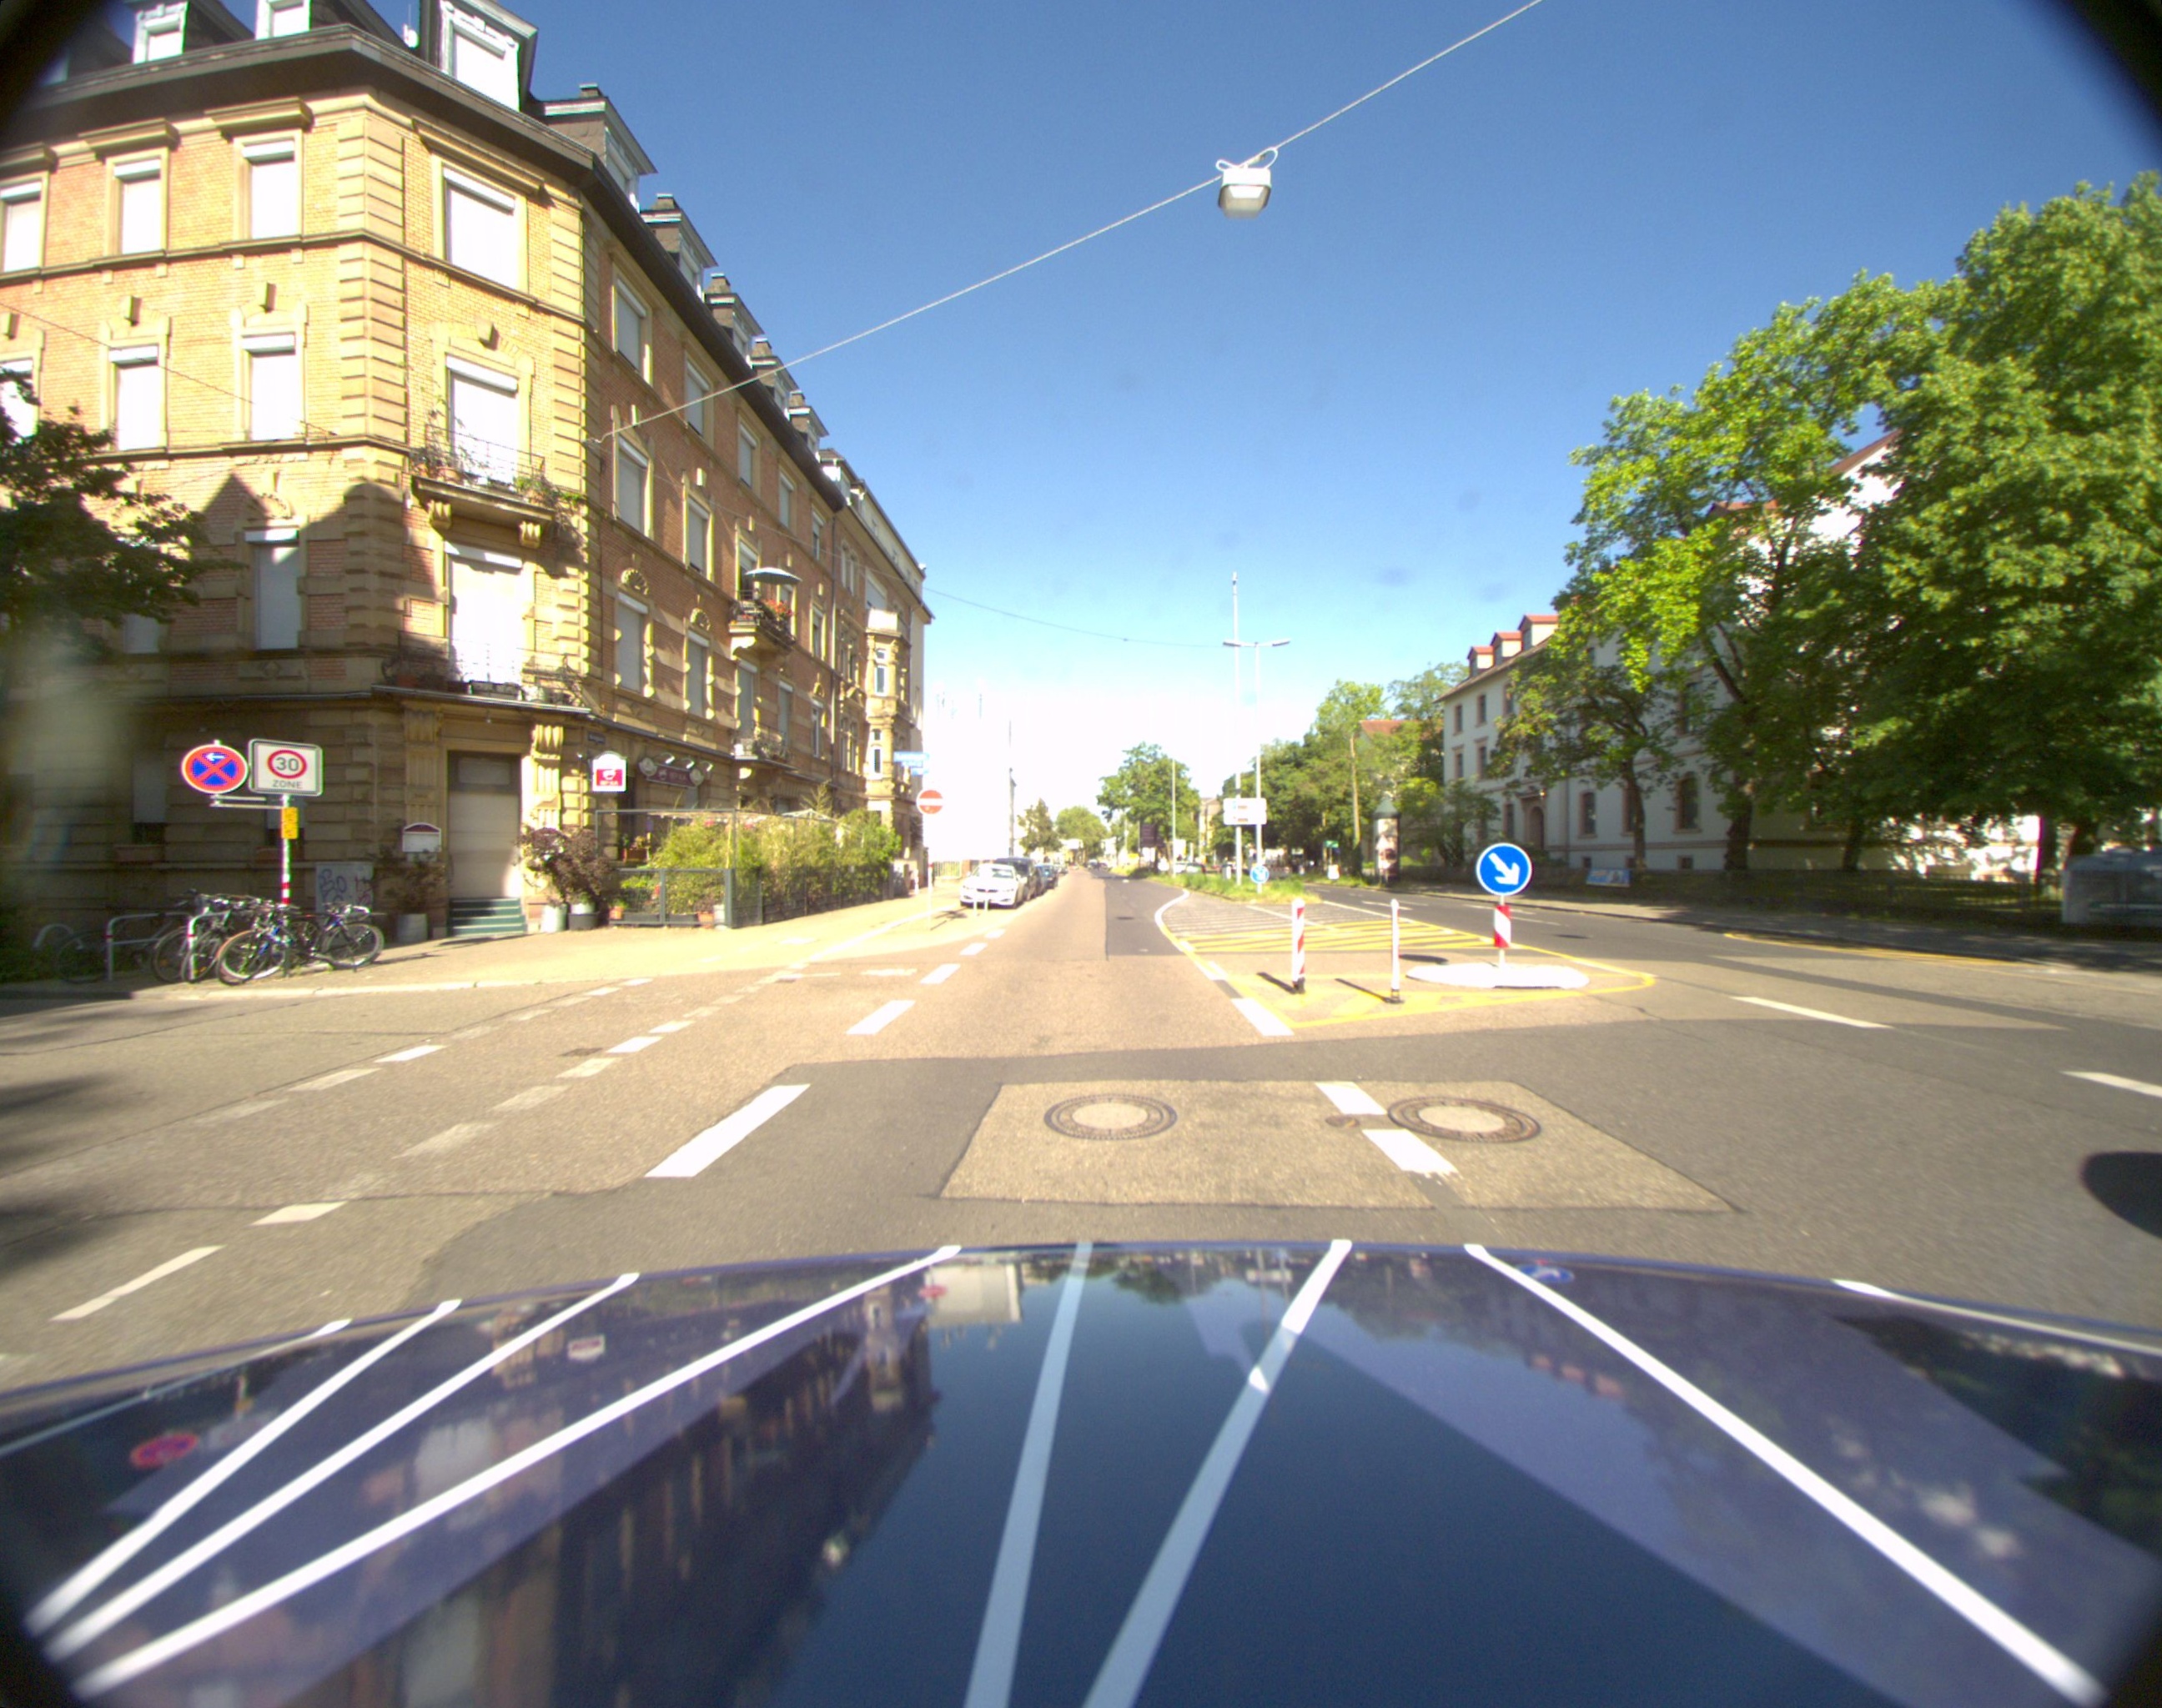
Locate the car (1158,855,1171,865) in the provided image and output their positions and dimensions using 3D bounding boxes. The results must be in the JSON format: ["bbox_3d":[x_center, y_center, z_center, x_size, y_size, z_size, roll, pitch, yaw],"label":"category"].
[{"bbox_3d":[12.983,0.970,118.080,1.594,1.420,3.716,1,1,2],"label":"car"}]

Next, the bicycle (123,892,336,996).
[{"bbox_3d":[-11.306,1.145,10.214,0.584,1.128,2.018,1,1,0],"label":"bicycle"}]

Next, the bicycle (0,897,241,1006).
[{"bbox_3d":[-12.587,1.219,10.086,0.584,1.128,2.018,1,2,1],"label":"bicycle"}]

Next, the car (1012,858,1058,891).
[{"bbox_3d":[-2.465,1.096,41.950,1.893,1.678,4.701,-1,0,4],"label":"car"}]

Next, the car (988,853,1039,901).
[{"bbox_3d":[-2.729,0.900,31.420,1.693,1.862,3.562,1,0,2],"label":"car"}]

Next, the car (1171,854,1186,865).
[{"bbox_3d":[12.775,0.697,100.119,1.594,1.420,3.716,1,1,2],"label":"car"}]

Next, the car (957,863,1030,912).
[{"bbox_3d":[-2.901,1.070,25.949,1.846,1.432,4.106,2,0,2],"label":"car"}]

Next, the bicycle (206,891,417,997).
[{"bbox_3d":[-10.247,1.149,10.257,0.735,1.128,2.018,0,2,1],"label":"bicycle"}]

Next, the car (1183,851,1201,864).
[{"bbox_3d":[12.530,0.414,85.988,1.594,1.420,3.716,1,1,2],"label":"car"}]
